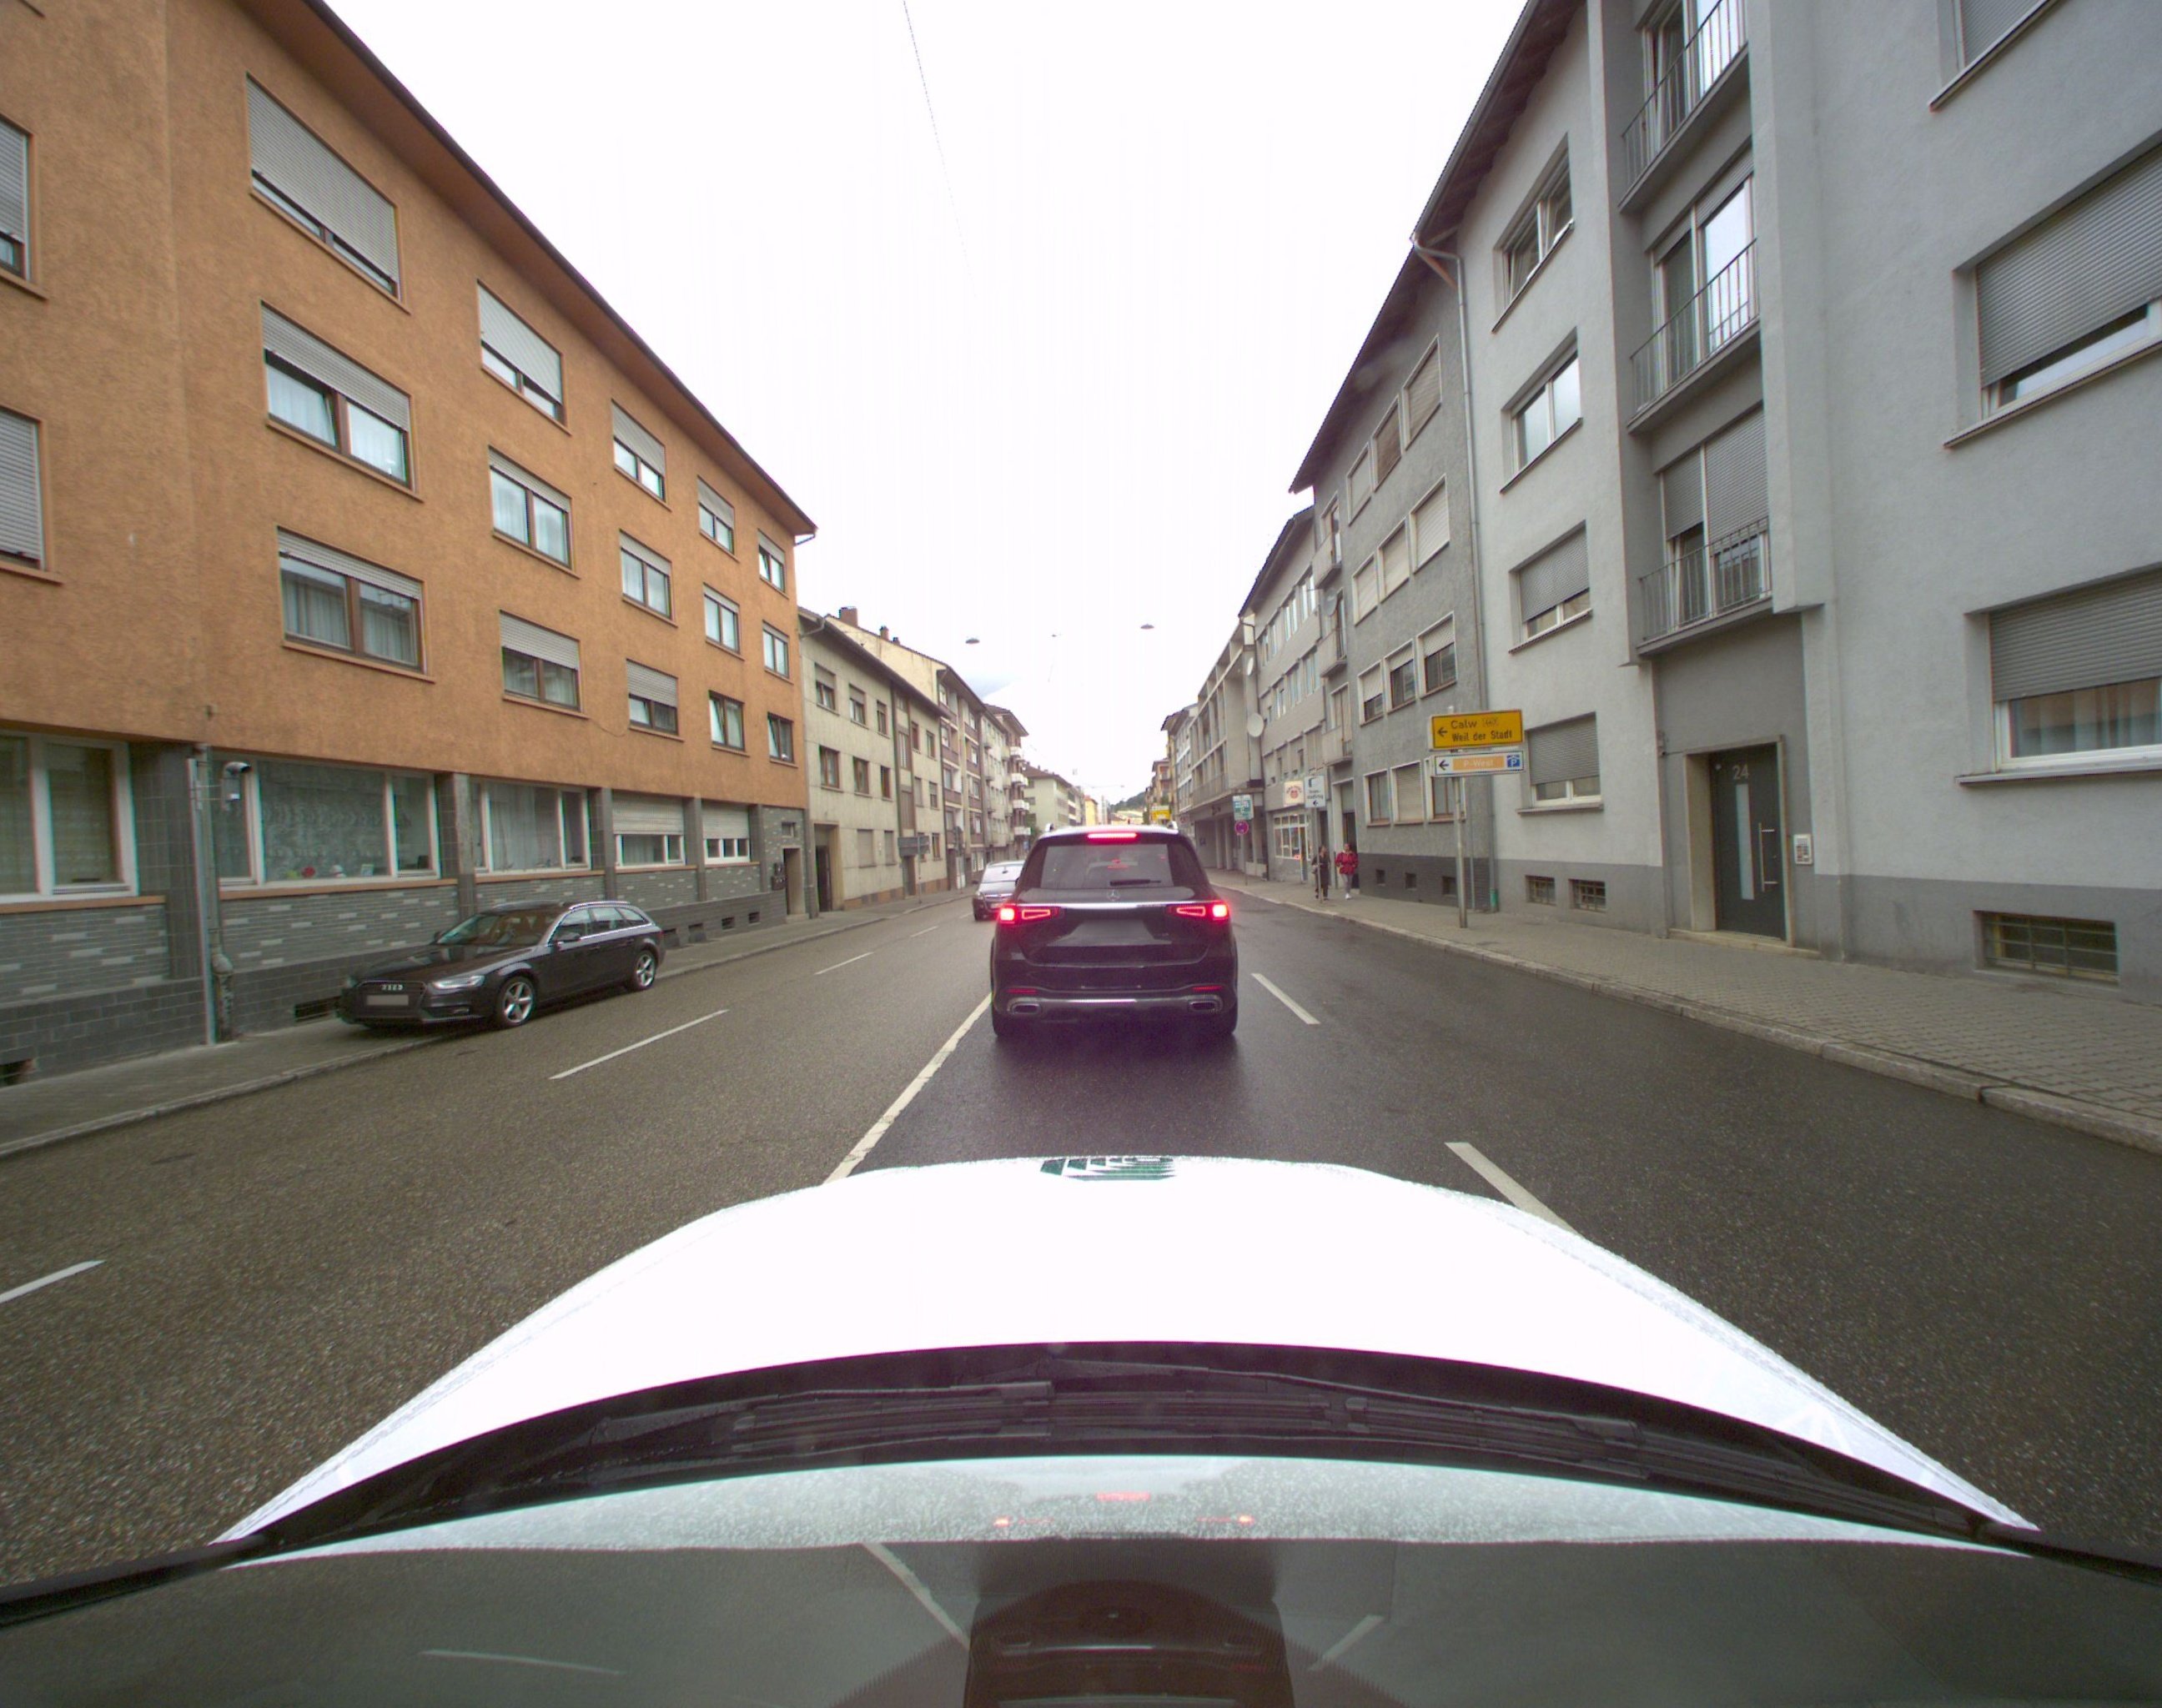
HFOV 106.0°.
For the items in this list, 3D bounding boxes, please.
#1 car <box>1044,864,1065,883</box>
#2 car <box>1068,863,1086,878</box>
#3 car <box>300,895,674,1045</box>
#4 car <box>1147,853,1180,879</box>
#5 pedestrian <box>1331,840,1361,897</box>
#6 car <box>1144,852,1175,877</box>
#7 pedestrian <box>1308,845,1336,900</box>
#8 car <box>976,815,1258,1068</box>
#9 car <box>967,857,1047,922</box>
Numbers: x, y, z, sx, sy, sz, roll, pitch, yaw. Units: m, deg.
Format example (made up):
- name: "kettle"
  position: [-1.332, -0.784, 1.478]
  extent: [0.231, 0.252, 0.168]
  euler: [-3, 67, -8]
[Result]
- name: "car"
  position: [-2.499, 1.855, 77.045]
  extent: [1.642, 1.576, 4.127]
  euler: [-4, 0, 2]
- name: "car"
  position: [-0.394, 1.775, 87.228]
  extent: [1.642, 1.439, 4.127]
  euler: [-4, 0, 2]
- name: "car"
  position: [-7.738, 1.405, 11.320]
  extent: [1.789, 1.438, 4.528]
  euler: [0, 0, 1]
- name: "car"
  position: [5.242, 0.739, 52.124]
  extent: [1.760, 1.580, 4.002]
  euler: [-2, 0, 2]
- name: "pedestrian"
  position: [7.608, 0.414, 23.420]
  extent: [0.558, 1.578, 0.526]
  euler: [-5, 0, 1]
- name: "car"
  position: [5.778, 0.752, 60.172]
  extent: [1.933, 1.775, 4.748]
  euler: [-1, 0, 1]
- name: "pedestrian"
  position: [6.920, 0.526, 23.378]
  extent: [0.504, 1.500, 0.562]
  euler: [-5, 0, 1]
- name: "car"
  position: [0.304, 0.632, 7.861]
  extent: [2.018, 1.806, 4.001]
  euler: [0, 0, 1]
- name: "car"
  position: [-2.076, 0.954, 23.810]
  extent: [1.727, 1.575, 4.012]
  euler: [-6, 0, 1]
